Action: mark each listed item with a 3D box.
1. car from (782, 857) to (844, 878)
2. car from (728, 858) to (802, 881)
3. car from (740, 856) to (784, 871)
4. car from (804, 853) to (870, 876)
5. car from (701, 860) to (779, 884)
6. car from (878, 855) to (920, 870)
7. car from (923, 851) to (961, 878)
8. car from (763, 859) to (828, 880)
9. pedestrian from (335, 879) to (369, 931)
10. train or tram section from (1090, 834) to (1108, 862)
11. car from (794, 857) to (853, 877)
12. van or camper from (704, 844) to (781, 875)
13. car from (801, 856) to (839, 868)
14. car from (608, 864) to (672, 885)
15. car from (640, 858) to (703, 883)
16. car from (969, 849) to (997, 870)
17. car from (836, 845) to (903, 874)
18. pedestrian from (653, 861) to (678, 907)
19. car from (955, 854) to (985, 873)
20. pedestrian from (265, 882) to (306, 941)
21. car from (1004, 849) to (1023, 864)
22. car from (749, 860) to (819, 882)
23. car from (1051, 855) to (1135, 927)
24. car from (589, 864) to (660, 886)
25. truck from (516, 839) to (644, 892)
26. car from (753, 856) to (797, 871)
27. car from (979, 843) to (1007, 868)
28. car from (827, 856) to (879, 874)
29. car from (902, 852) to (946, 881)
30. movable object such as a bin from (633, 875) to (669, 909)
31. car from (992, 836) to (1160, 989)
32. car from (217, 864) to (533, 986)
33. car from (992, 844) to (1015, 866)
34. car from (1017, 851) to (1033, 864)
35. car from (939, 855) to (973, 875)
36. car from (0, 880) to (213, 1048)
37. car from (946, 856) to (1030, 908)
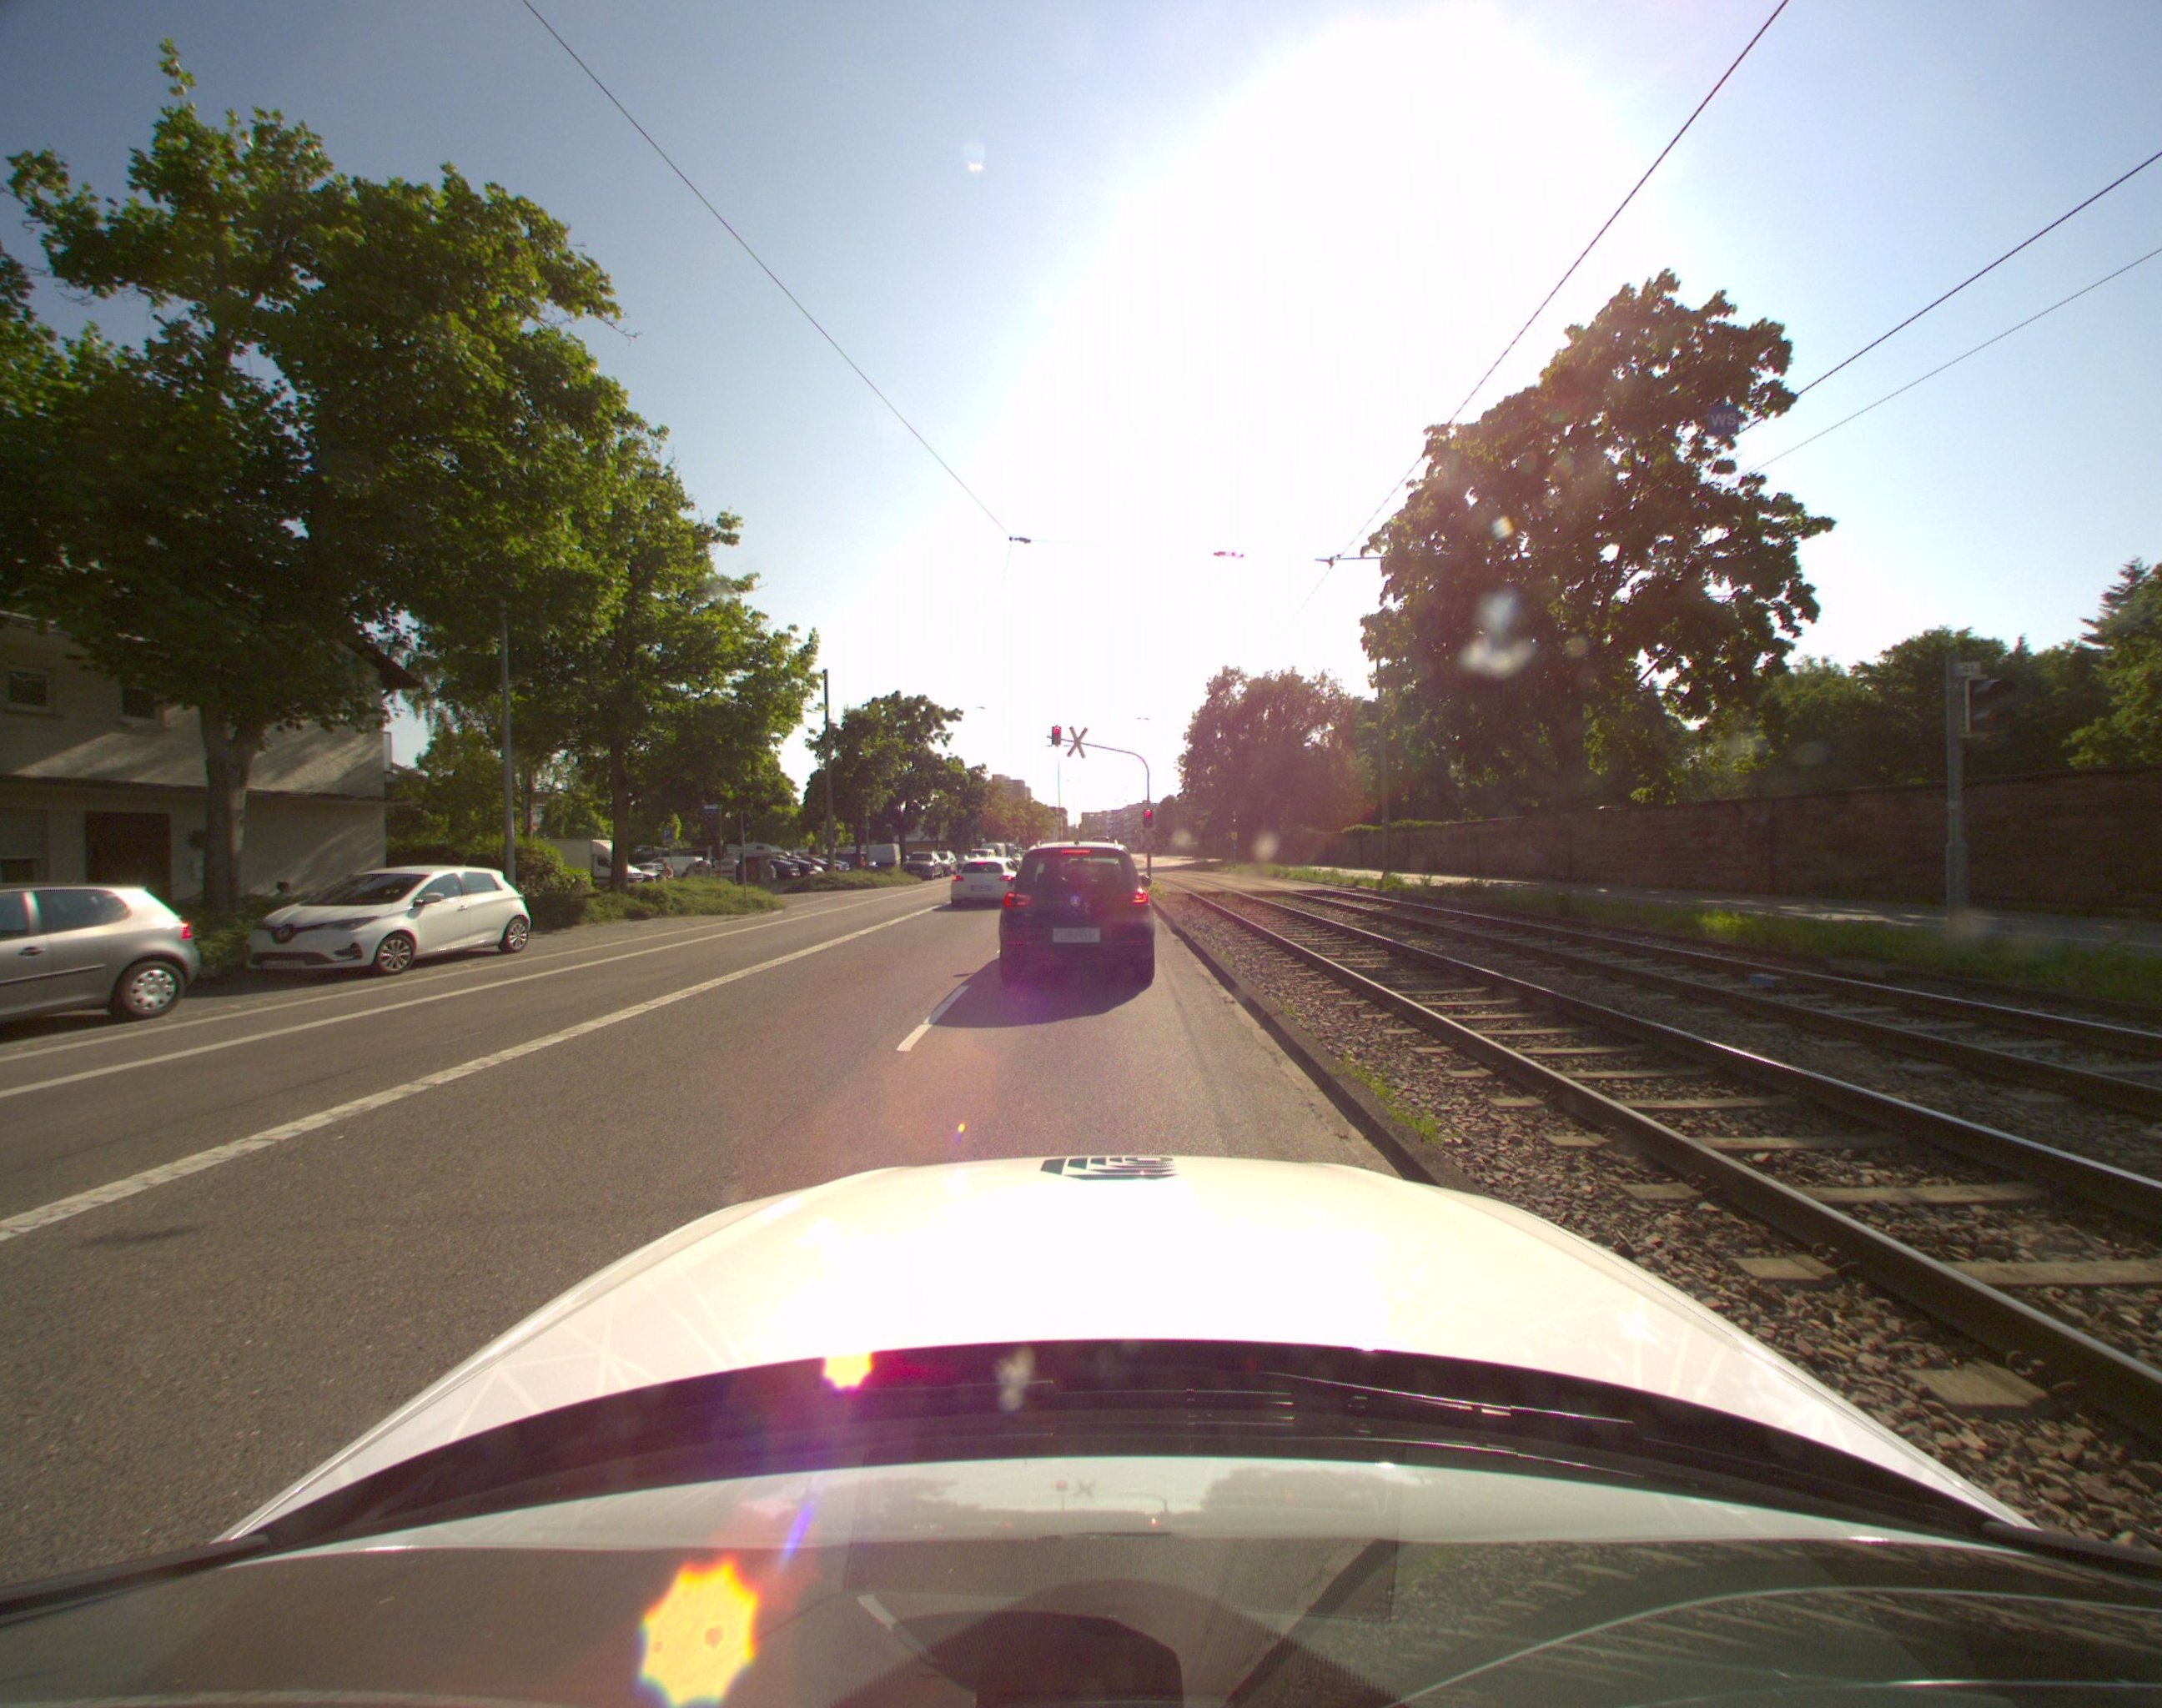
[{"bbox_3d":[-19.696,0.988,60.016,3.976,1.397,1.736,-2,0,-2],"label":"car"},{"bbox_3d":[-20.092,0.997,51.927,3.976,1.307,1.736,-2,0,-2],"label":"car"},{"bbox_3d":[-31.913,0.957,81.483,3.653,1.397,1.736,-2,0,-2],"label":"car"},{"bbox_3d":[-19.531,0.840,65.372,4.604,1.651,2.049,-2,0,-1],"label":"car"},{"bbox_3d":[-20.691,1.087,49.526,3.976,1.307,1.736,-2,0,-2],"label":"car"},{"bbox_3d":[-18.798,0.876,84.292,3.976,1.397,1.736,-2,0,-2],"label":"car"},{"bbox_3d":[-9.516,0.691,56.074,1.724,1.694,4.004,-1,1,3],"label":"car"},{"bbox_3d":[-20.224,1.097,57.810,3.976,1.307,1.736,-2,0,-2],"label":"car"},{"bbox_3d":[-17.525,1.210,19.579,0.442,1.217,0.392,-1,0,9],"label":"pedestrian"},{"bbox_3d":[2.457,-0.774,108.947,2.318,3.570,8.904,-2,0,2],"label":"train or tram section"},{"bbox_3d":[-19.884,0.980,62.989,3.976,1.397,1.736,-2,0,-2],"label":"car"},{"bbox_3d":[-32.492,0.513,78.325,6.439,2.868,2.308,-1,0,2],"label":"van or camper"},{"bbox_3d":[-31.549,0.948,98.573,3.976,1.397,1.736,-2,0,-2],"label":"car"},{"bbox_3d":[-33.044,1.526,61.062,3.966,1.361,1.630,-2,0,6],"label":"car"},{"bbox_3d":[-31.783,1.269,63.296,3.981,1.728,1.623,-2,0,-6],"label":"car"},{"bbox_3d":[-8.765,0.458,73.367,1.724,1.860,4.493,-2,0,3],"label":"car"},{"bbox_3d":[-19.014,0.483,73.411,5.356,2.423,2.088,-2,0,1],"label":"car"},{"bbox_3d":[-15.101,1.074,29.598,0.522,1.628,0.610,-2,0,1],"label":"pedestrian"},{"bbox_3d":[-9.230,0.760,68.054,1.724,1.450,3.738,-1,1,3],"label":"car"},{"bbox_3d":[-16.175,1.160,16.564,0.344,1.162,0.447,-1,0,9],"label":"pedestrian"},{"bbox_3d":[-8.107,0.319,98.519,1.724,1.694,4.004,-1,1,3],"label":"car"},{"bbox_3d":[-19.863,1.102,54.522,3.976,1.307,1.736,-2,0,-2],"label":"car"},{"bbox_3d":[0.311,0.762,18.541,1.663,1.386,4.002,-2,0,2],"label":"car"},{"bbox_3d":[-32.583,1.480,58.215,3.976,1.457,1.736,-2,0,-2],"label":"car"},{"bbox_3d":[-32.644,0.720,53.199,6.941,3.242,1.987,-2,0,-1],"label":"truck"},{"bbox_3d":[-32.495,0.995,86.669,3.976,1.397,1.736,-2,0,-2],"label":"car"},{"bbox_3d":[-8.642,0.160,80.044,1.856,2.347,4.989,-2,0,3],"label":"car"},{"bbox_3d":[-19.524,0.947,69.905,3.976,1.397,1.736,-2,0,-2],"label":"car"},{"bbox_3d":[-9.683,0.767,50.434,1.724,1.657,4.003,-2,0,3],"label":"car"},{"bbox_3d":[-15.133,1.324,28.659,0.540,1.146,1.261,-2,0,2],"label":"movable object such as a bin"},{"bbox_3d":[0.013,0.638,10.795,1.804,1.645,4.002,0,0,2],"label":"car"},{"bbox_3d":[-10.693,0.974,12.776,1.596,1.550,3.892,0,0,-1],"label":"car"},{"bbox_3d":[-8.234,0.085,86.868,1.724,2.268,4.648,-2,0,3],"label":"car"},{"bbox_3d":[-7.537,0.434,109.898,1.724,1.694,4.004,-1,1,3],"label":"car"},{"bbox_3d":[-9.510,0.809,62.174,1.724,1.389,3.738,-1,1,3],"label":"car"},{"bbox_3d":[-10.733,1.057,7.287,1.672,1.468,3.967,-1,0,-1],"label":"car"},{"bbox_3d":[-2.629,0.756,23.917,1.858,1.348,4.002,-1,0,2],"label":"car"}]
